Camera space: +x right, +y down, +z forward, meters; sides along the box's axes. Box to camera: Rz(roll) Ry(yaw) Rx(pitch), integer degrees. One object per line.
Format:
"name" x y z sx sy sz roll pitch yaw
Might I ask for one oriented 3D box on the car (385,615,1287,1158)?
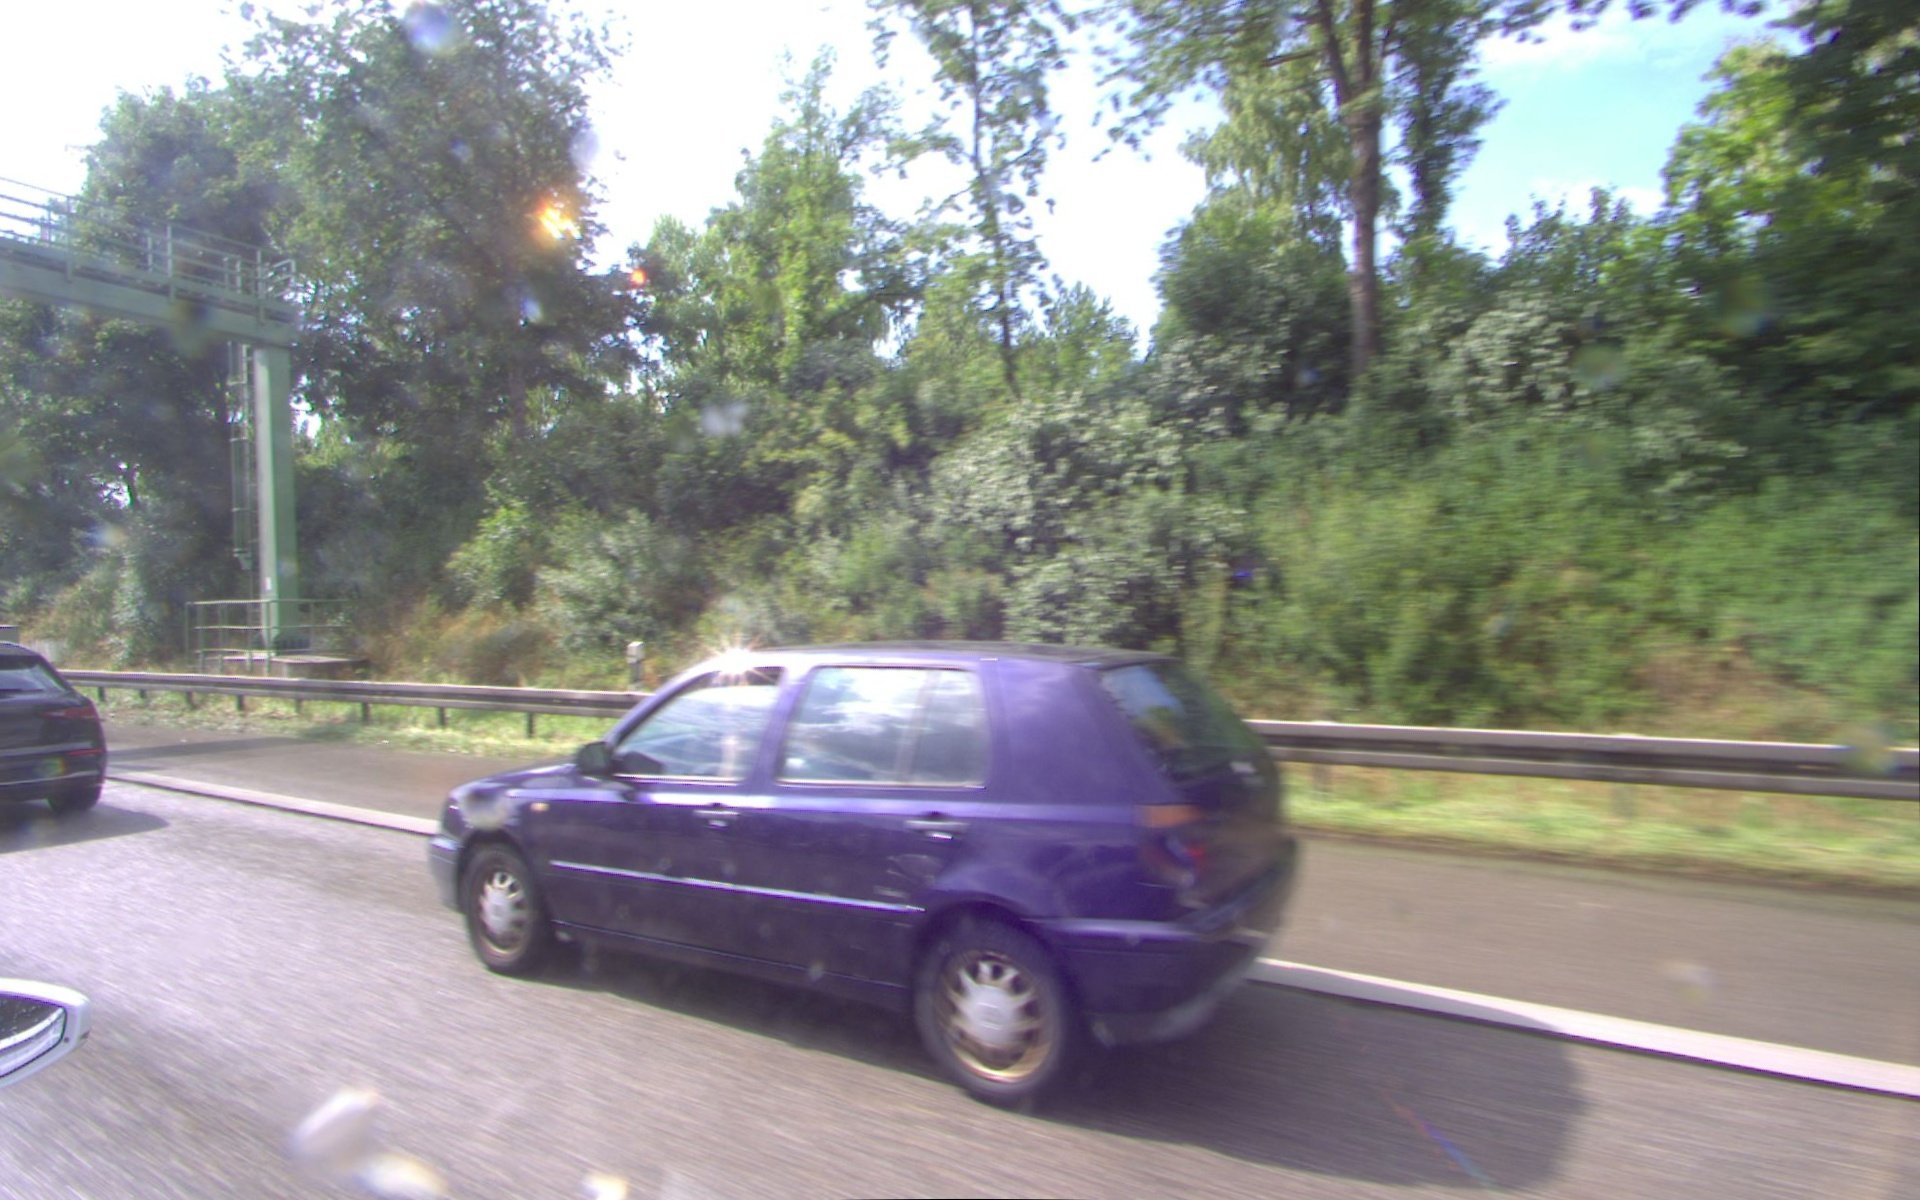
"car" -0.643 0.822 4.374 3.689 1.475 1.648 -1 -1 30

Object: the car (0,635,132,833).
"car" -8.800 1.006 8.260 4.305 1.414 1.752 -1 -1 32
